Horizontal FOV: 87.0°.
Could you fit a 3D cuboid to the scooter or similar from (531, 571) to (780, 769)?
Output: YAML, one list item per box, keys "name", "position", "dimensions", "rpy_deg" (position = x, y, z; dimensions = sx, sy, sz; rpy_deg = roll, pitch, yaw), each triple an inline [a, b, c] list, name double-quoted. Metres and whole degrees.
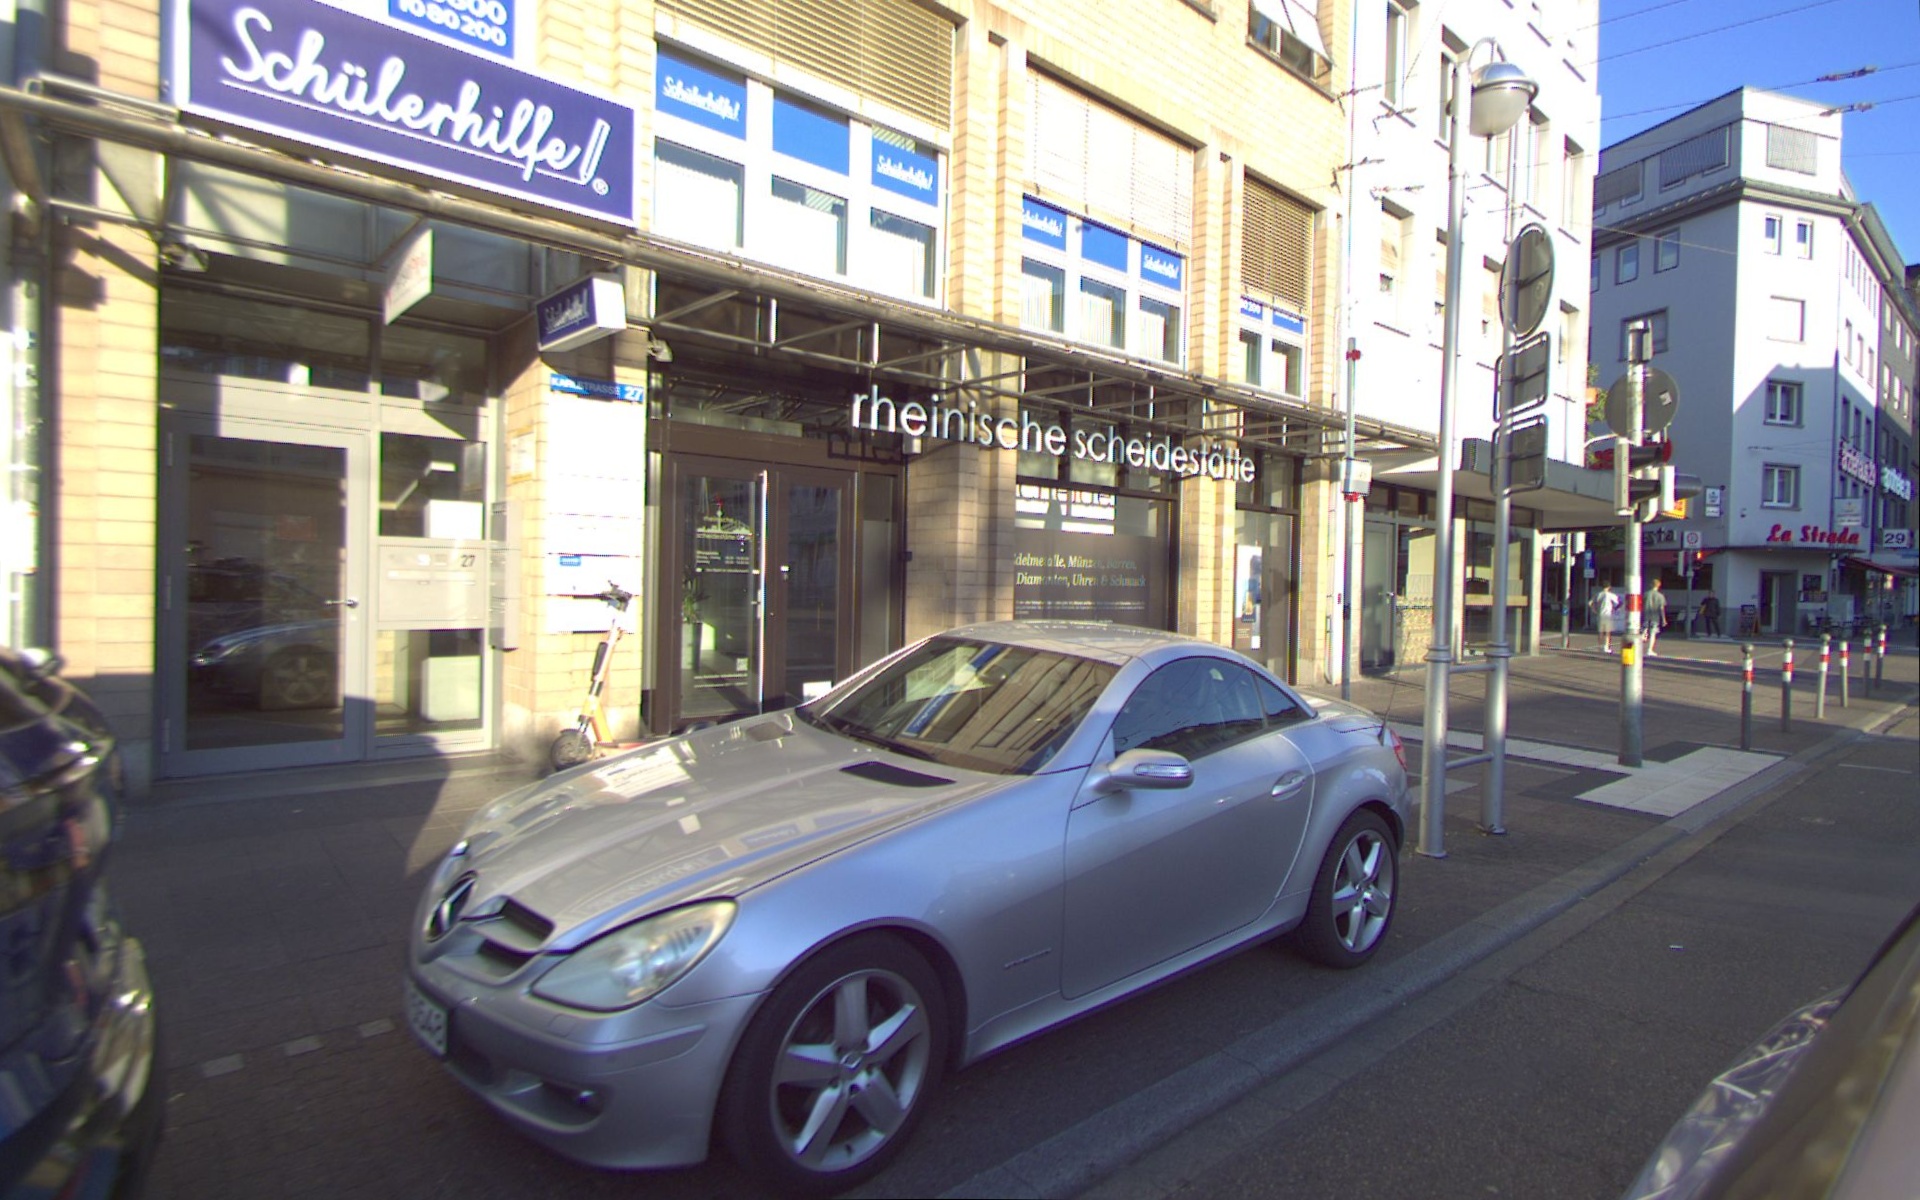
- name: "scooter or similar"
  position: [-2.018, 0.429, 6.838]
  dimensions: [1.545, 1.198, 0.461]
  rpy_deg: [1, 1, -42]

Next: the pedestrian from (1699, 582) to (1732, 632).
- name: "pedestrian"
  position: [26.131, 0.240, 34.990]
  dimensions: [0.577, 1.676, 0.798]
  rpy_deg: [1, 1, -44]

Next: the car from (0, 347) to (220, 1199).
- name: "car"
  position: [-3.152, 0.483, 0.626]
  dimensions: [4.213, 1.625, 1.768]
  rpy_deg: [0, 1, -42]

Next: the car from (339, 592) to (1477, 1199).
- name: "car"
  position: [0.128, 0.647, 3.753]
  dimensions: [3.990, 1.298, 1.678]
  rpy_deg: [0, 2, -39]

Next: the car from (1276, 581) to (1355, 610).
- name: "car"
  position: [19.526, -0.274, 55.796]
  dimensions: [1.767, 1.410, 4.429]
  rpy_deg: [1, 2, -18]

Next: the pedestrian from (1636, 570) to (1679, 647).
- name: "pedestrian"
  position: [16.876, 0.194, 24.483]
  dimensions: [0.747, 1.795, 0.578]
  rpy_deg: [2, 1, 42]

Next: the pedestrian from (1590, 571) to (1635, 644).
- name: "pedestrian"
  position: [16.358, 0.186, 25.361]
  dimensions: [0.627, 1.795, 0.749]
  rpy_deg: [1, 1, -38]
